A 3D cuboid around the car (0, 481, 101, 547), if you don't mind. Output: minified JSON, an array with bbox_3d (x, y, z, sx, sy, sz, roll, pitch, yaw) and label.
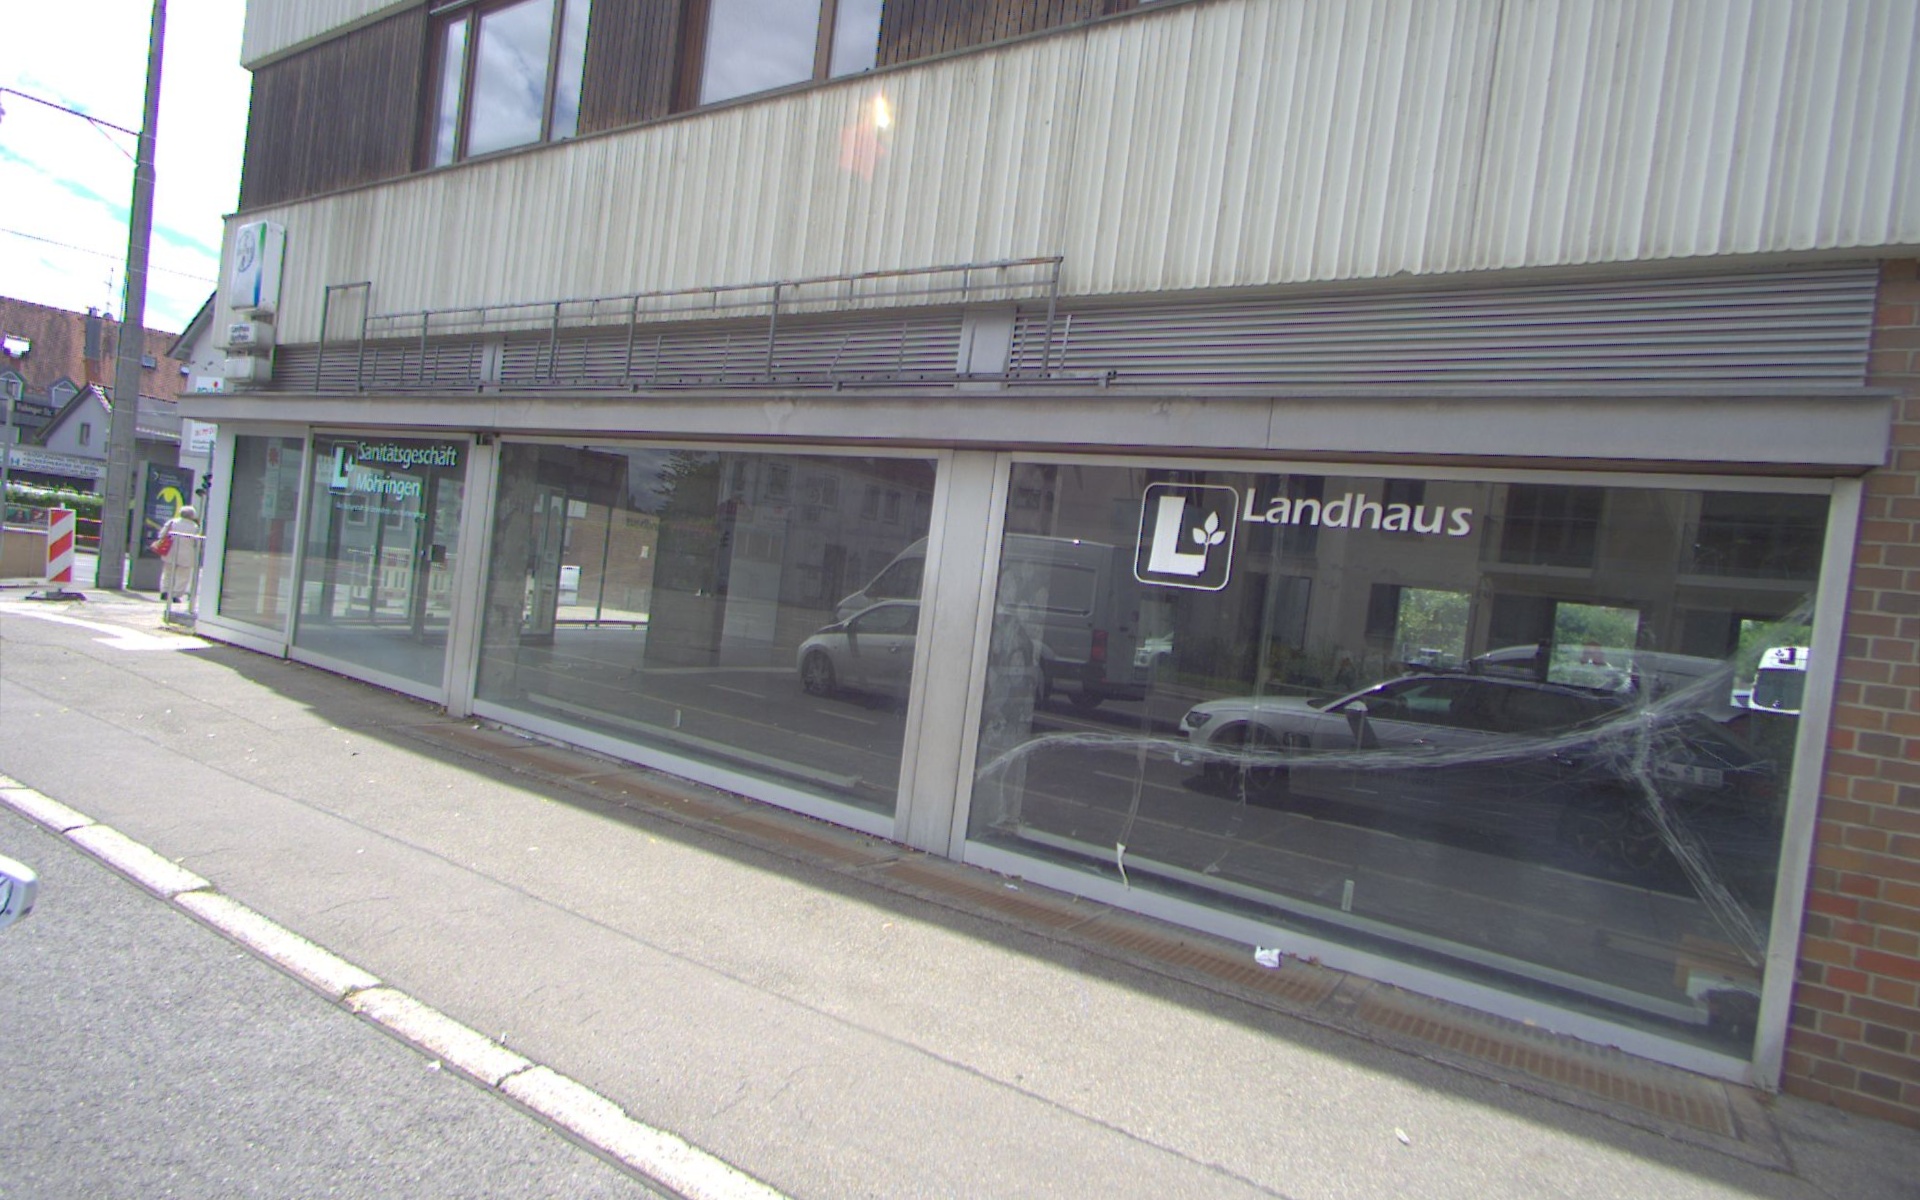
[{"bbox_3d":[-35.244,-3.318,37.733,1.964,2.037,4.000,7,-1,23],"label":"car"}]

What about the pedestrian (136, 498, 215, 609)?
[{"bbox_3d":[-12.750,-0.759,16.351,0.831,1.657,0.863,7,0,-42],"label":"pedestrian"}]

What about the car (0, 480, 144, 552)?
[{"bbox_3d":[-32.968,-3.080,37.012,1.964,1.971,4.000,7,-1,23],"label":"car"}]
